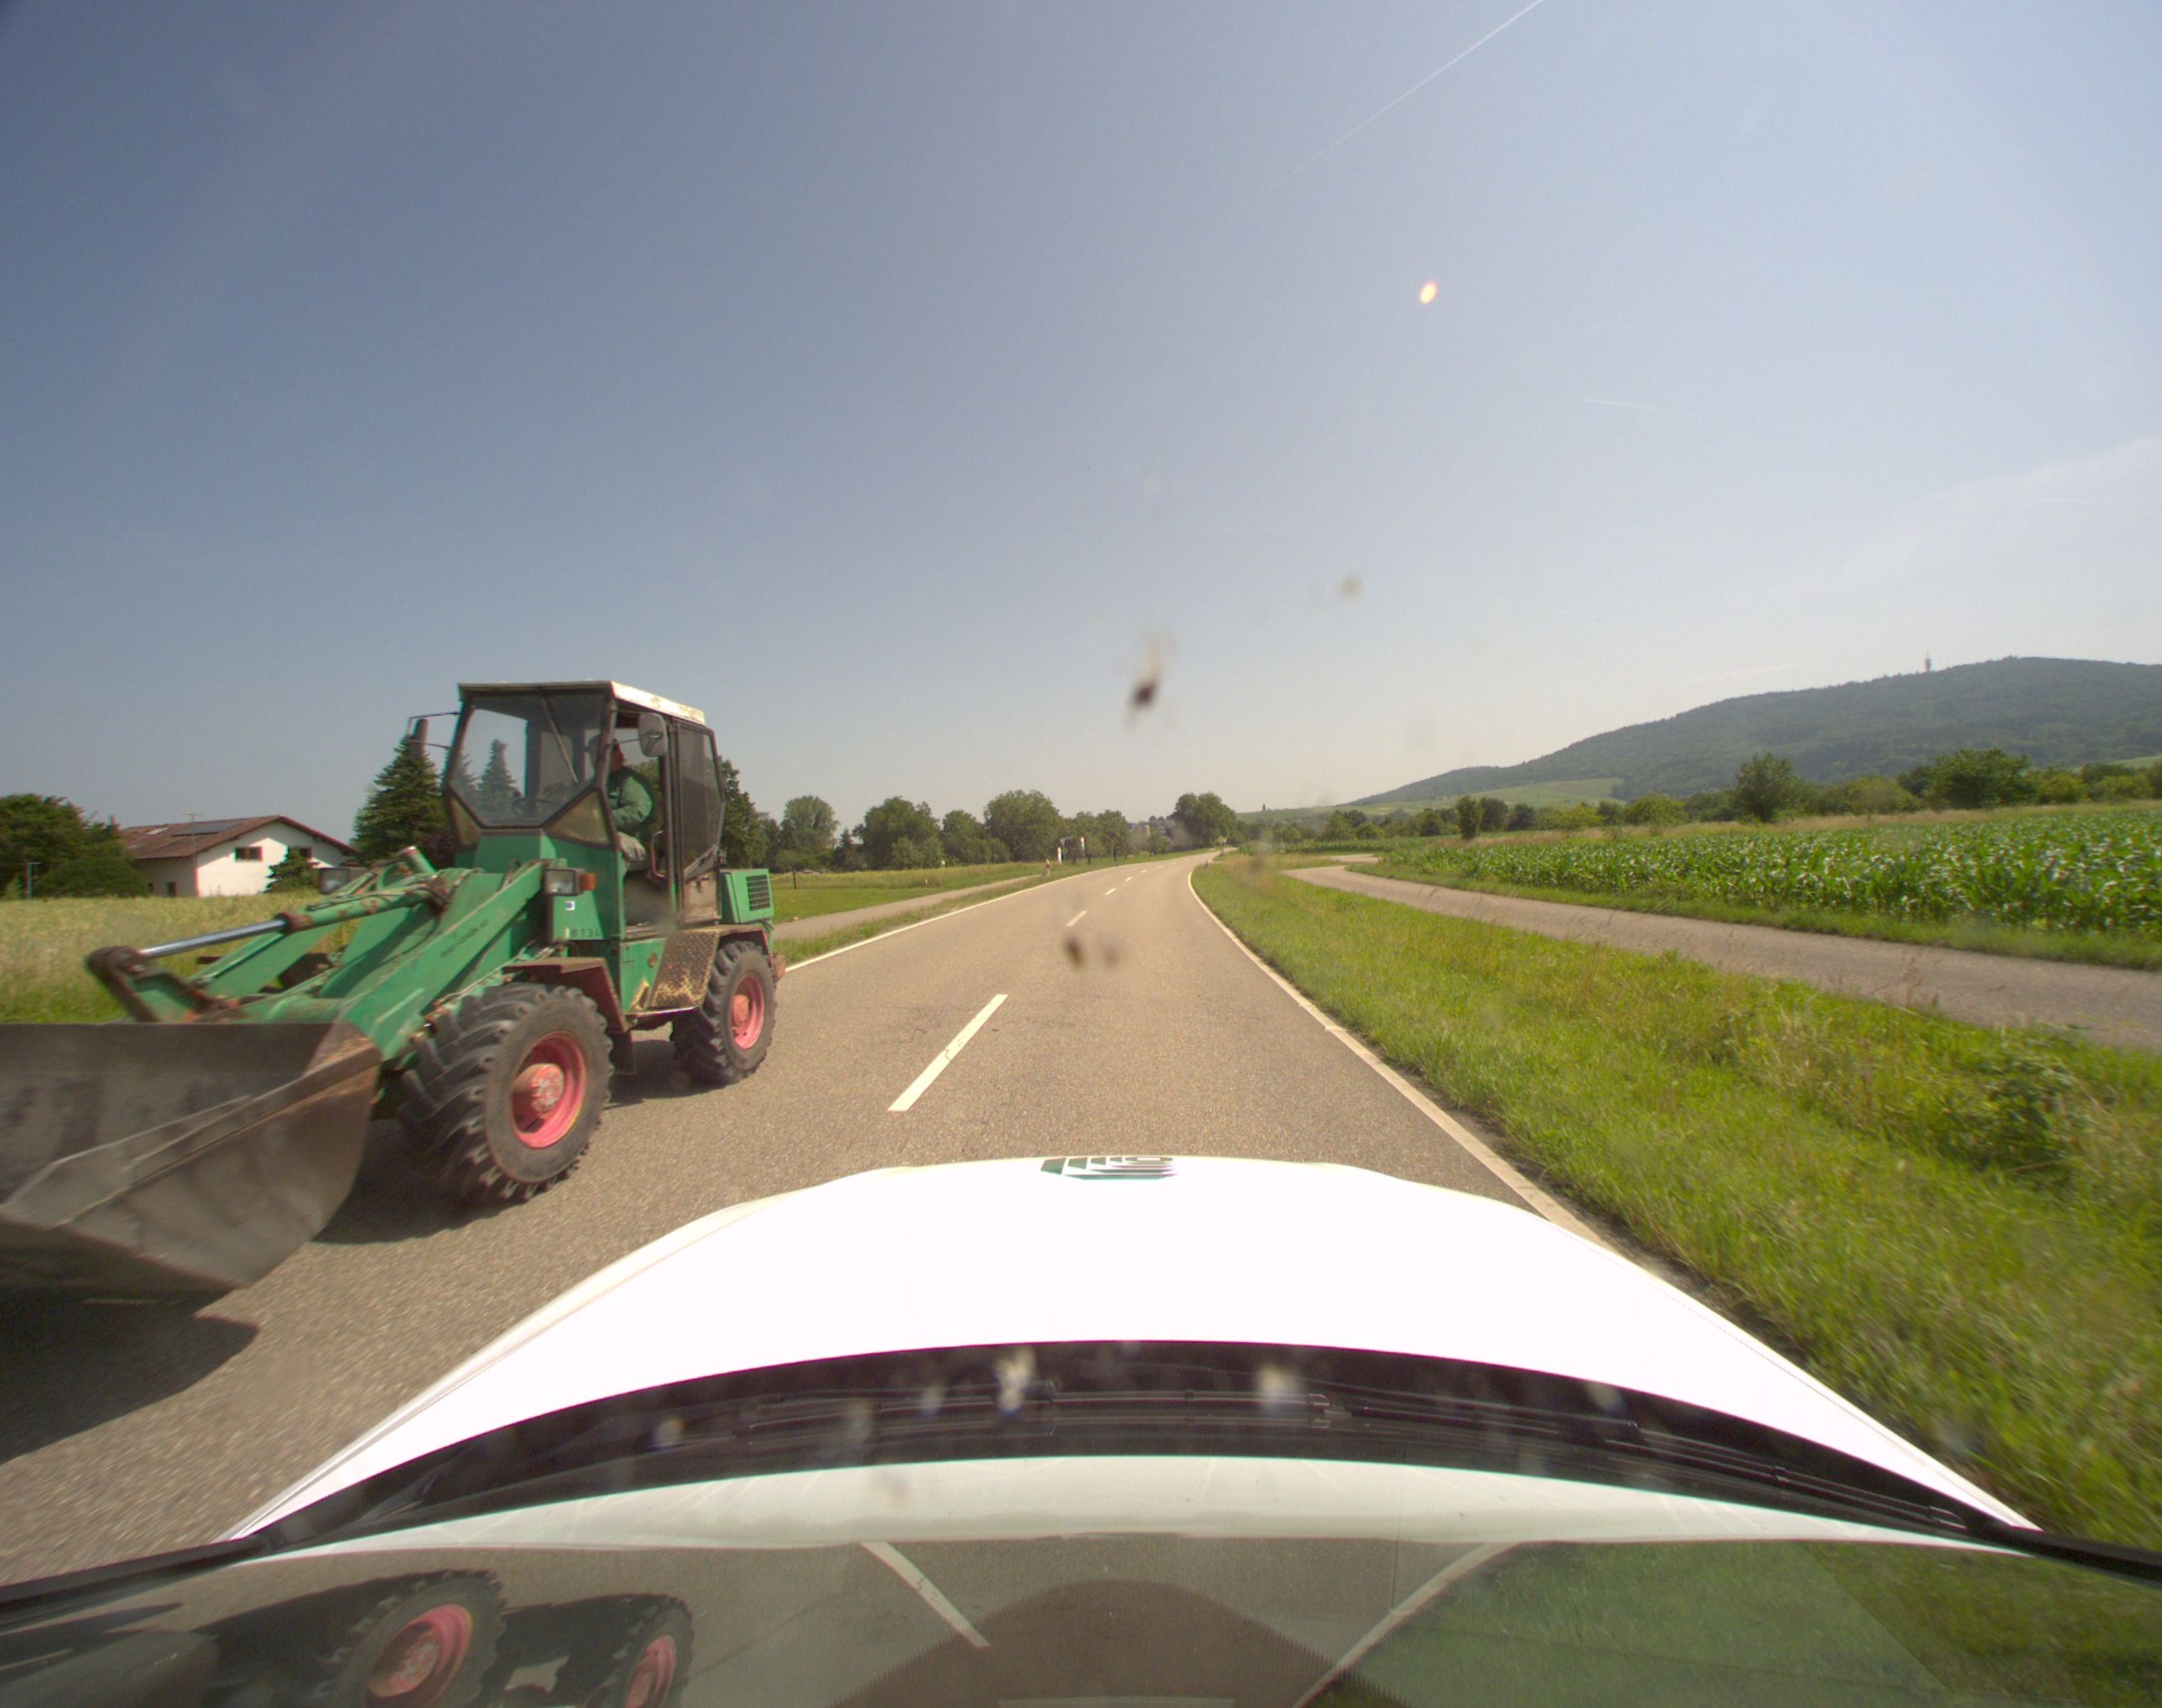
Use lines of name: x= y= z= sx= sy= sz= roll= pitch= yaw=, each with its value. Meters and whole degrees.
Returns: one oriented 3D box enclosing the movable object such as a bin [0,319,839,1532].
movable object such as a bin: x=-3.267 y=0.157 z=4.510 sx=1.992 sy=2.755 sz=5.235 roll=0 pitch=0 yaw=4
